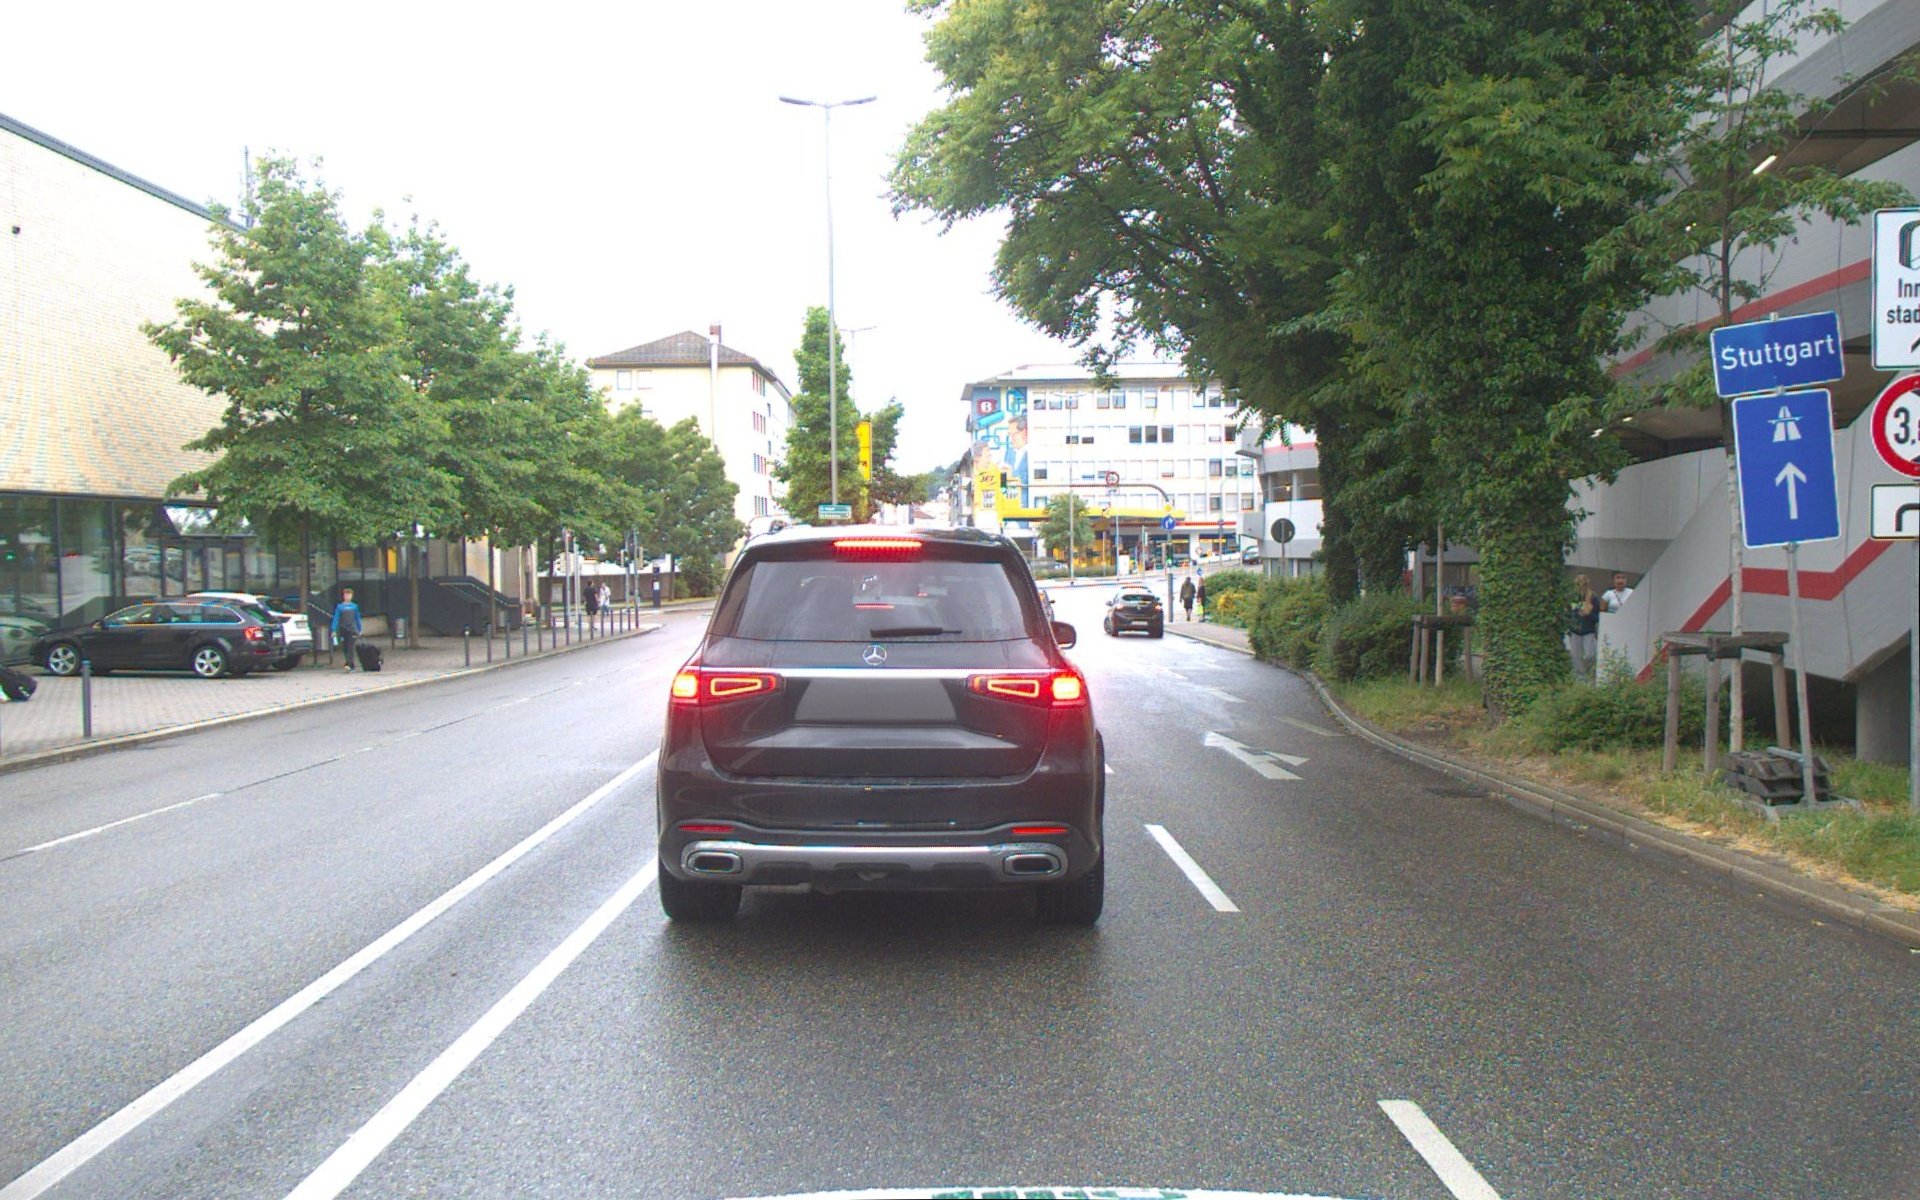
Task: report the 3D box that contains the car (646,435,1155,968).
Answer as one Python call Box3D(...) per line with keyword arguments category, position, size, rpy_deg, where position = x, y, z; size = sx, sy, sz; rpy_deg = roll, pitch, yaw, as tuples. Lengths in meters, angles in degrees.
Box3D(category="car", position=(-0.297, 0.416, 8.461), size=(1.953, 2.049, 3.998), rpy_deg=(1, 0, -2))

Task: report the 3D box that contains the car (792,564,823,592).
Box3D(category="car", position=(-11.061, -1.563, 120.052), size=(1.954, 1.908, 5.139), rpy_deg=(1, 0, -3))

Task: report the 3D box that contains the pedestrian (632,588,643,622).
Box3D(category="pedestrian", position=(-16.119, 0.267, 82.733), size=(0.391, 1.673, 0.567), rpy_deg=(1, -1, -1))

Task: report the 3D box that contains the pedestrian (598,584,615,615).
Box3D(category="pedestrian", position=(-17.116, -0.023, 80.057), size=(0.697, 1.487, 0.598), rpy_deg=(1, -1, -2))

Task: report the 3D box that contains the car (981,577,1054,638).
Box3D(category="car", position=(2.005, 0.254, 58.651), size=(1.956, 2.049, 3.994), rpy_deg=(1, 0, -7))

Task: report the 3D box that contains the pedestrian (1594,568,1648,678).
Box3D(category="pedestrian", position=(9.400, 0.325, 23.539), size=(0.569, 1.528, 0.504), rpy_deg=(1, -1, 4))

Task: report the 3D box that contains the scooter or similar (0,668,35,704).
Box3D(category="scooter or similar", position=(-14.346, 1.303, 25.112), size=(0.274, 0.509, 0.616), rpy_deg=(1, -1, -2))

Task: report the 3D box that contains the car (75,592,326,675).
Box3D(category="car", position=(-15.806, 0.686, 34.618), size=(4.331, 1.601, 1.998), rpy_deg=(1, 2, -6))

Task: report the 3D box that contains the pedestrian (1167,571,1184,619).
Box3D(category="pedestrian", position=(8.807, -0.197, 67.531), size=(0.607, 1.969, 0.610), rpy_deg=(1, -1, 3))

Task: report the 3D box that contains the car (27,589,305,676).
Box3D(category="car", position=(-15.194, 0.600, 31.873), size=(4.383, 1.615, 1.997), rpy_deg=(0, 0, -8))

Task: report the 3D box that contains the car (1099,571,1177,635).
Box3D(category="car", position=(5.840, 0.075, 54.627), size=(1.954, 2.049, 3.998), rpy_deg=(0, 1, -3))

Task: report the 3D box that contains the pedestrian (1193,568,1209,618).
Box3D(category="pedestrian", position=(9.562, -0.269, 65.529), size=(0.509, 1.944, 0.556), rpy_deg=(1, -1, -1))

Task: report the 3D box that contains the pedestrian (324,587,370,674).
Box3D(category="pedestrian", position=(-12.737, 0.622, 34.376), size=(0.675, 1.755, 0.754), rpy_deg=(1, 1, -2))

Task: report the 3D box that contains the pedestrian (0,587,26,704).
Box3D(category="pedestrian", position=(-14.373, 0.671, 24.567), size=(0.662, 1.727, 0.479), rpy_deg=(1, -2, -1))

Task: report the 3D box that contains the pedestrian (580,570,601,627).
Box3D(category="pedestrian", position=(-13.582, -0.047, 60.744), size=(0.576, 2.049, 0.749), rpy_deg=(1, -1, -3))

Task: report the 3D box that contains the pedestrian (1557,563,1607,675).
Box3D(category="pedestrian", position=(8.835, 0.272, 23.506), size=(0.539, 1.559, 0.488), rpy_deg=(1, -1, 5))
